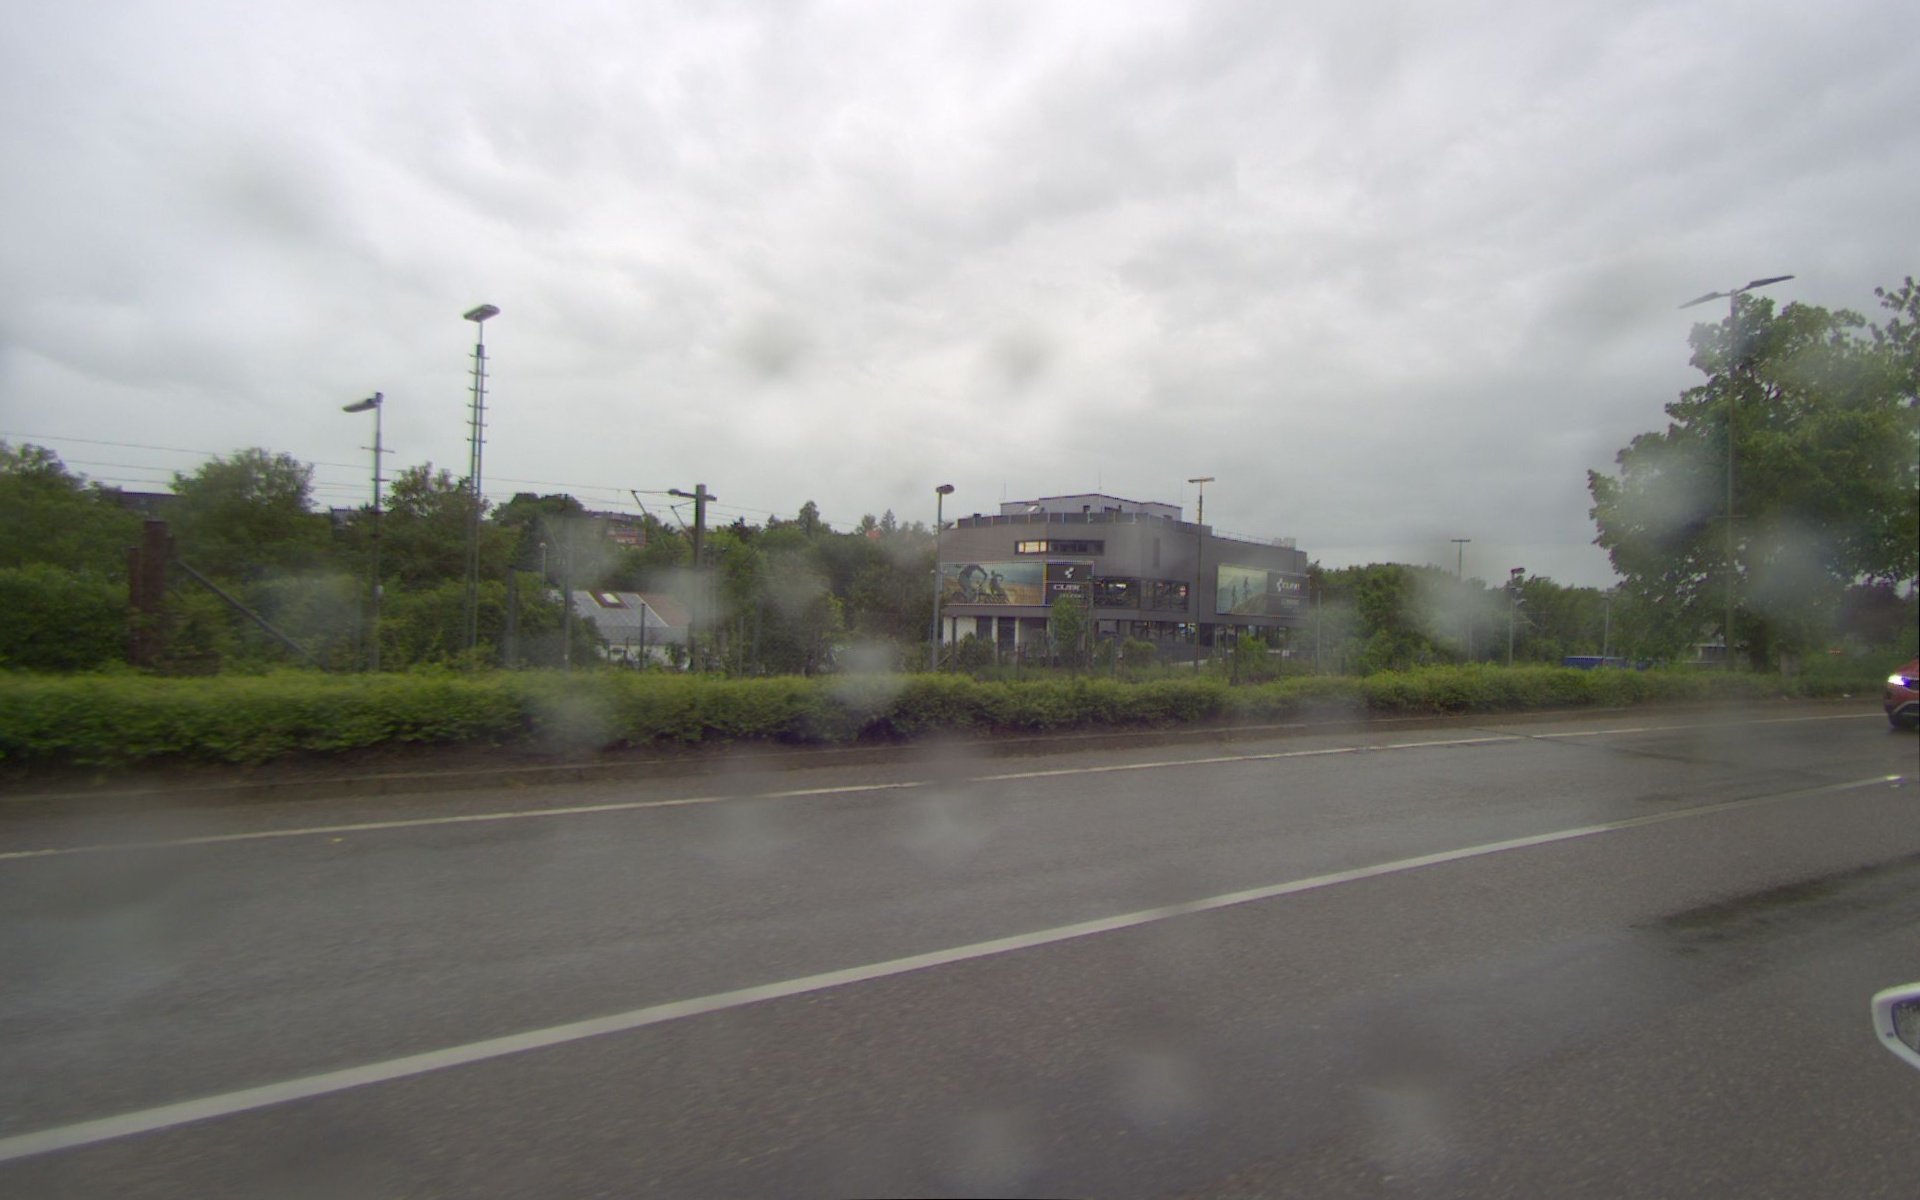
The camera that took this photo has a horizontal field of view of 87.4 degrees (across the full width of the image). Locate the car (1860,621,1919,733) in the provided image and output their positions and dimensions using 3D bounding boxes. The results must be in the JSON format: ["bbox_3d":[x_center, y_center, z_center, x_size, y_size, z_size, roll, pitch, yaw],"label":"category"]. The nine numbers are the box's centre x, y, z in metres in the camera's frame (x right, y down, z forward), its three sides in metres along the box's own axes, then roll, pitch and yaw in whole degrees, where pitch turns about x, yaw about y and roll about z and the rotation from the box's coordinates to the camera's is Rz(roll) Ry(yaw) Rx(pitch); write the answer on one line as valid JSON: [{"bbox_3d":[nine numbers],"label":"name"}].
[{"bbox_3d":[15.372,1.115,14.816,3.946,1.556,1.749,1,0,-26],"label":"car"}]
